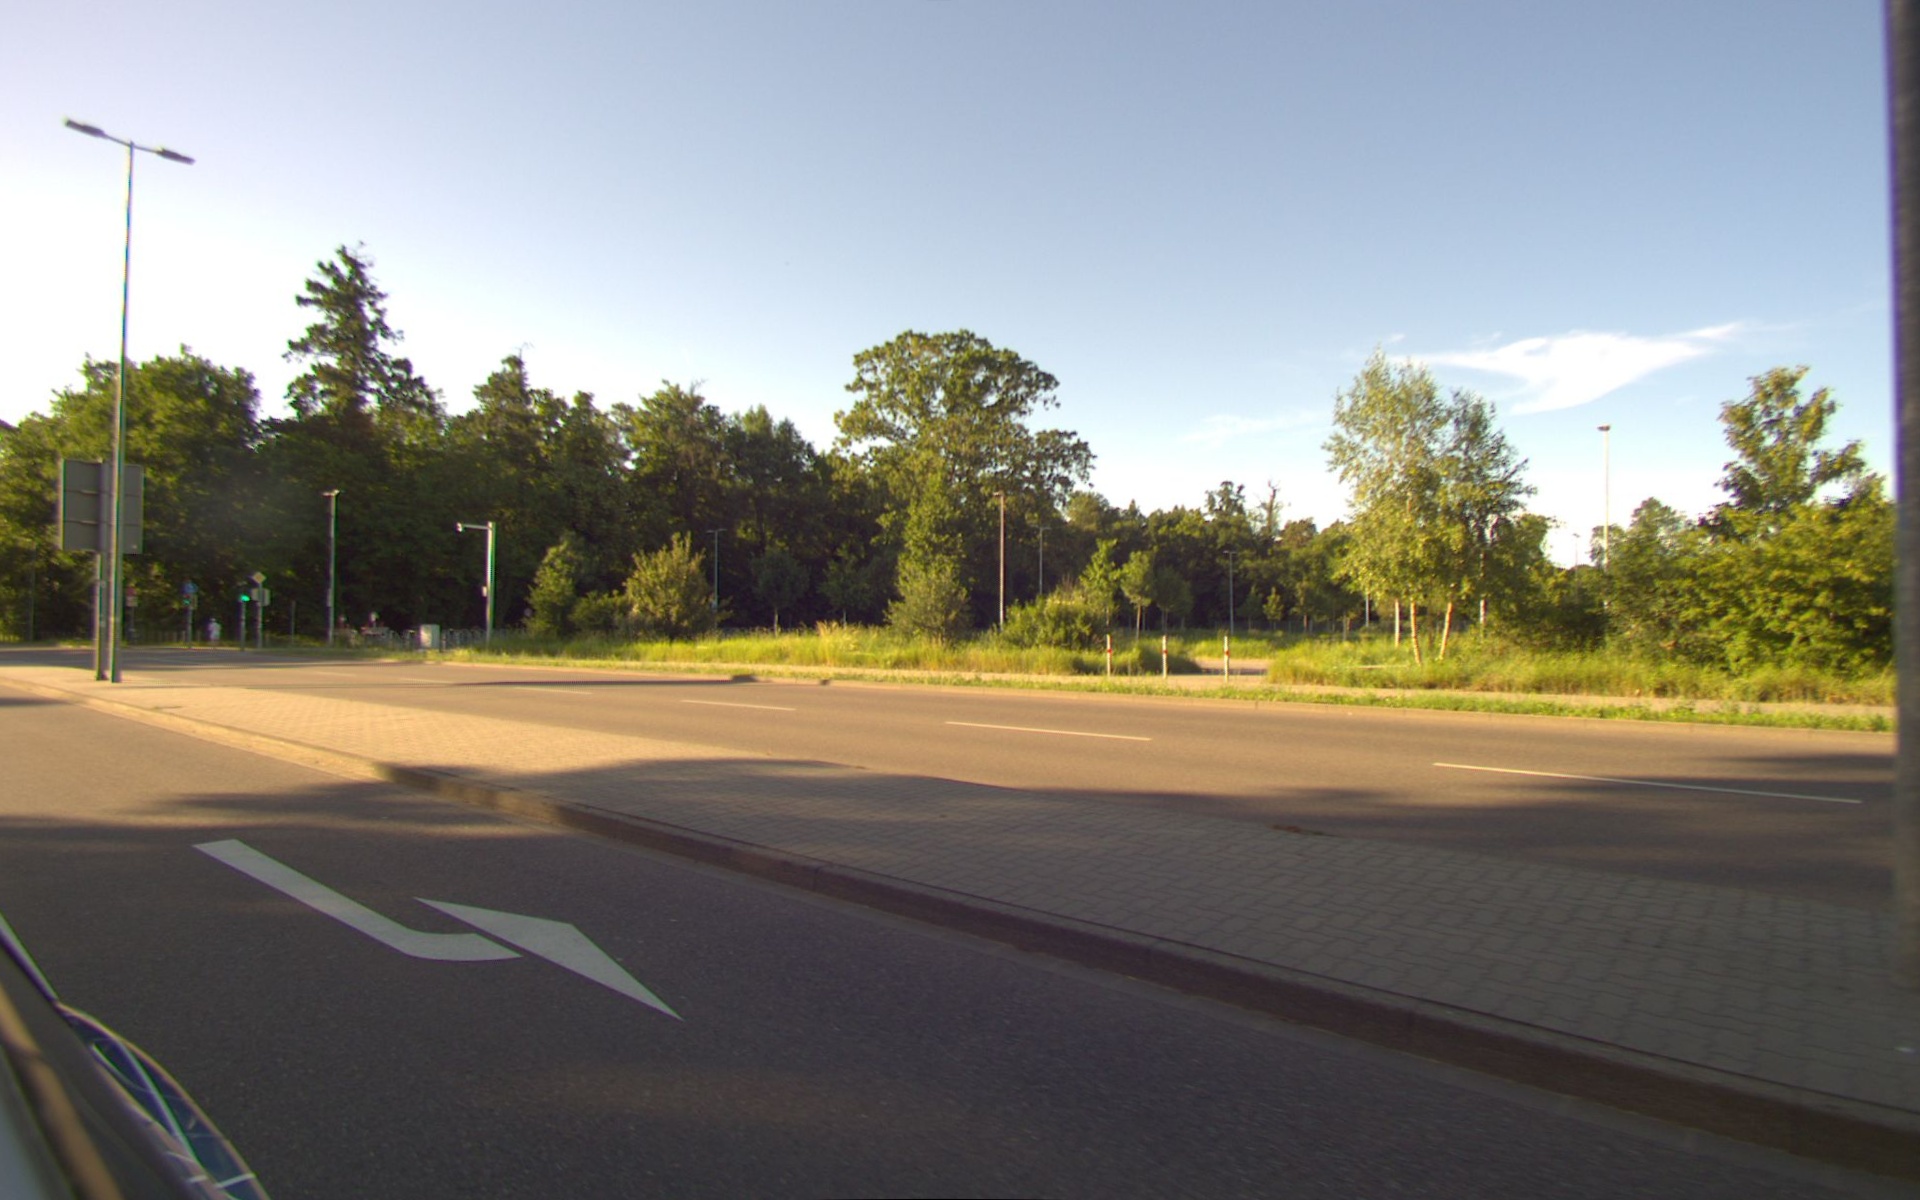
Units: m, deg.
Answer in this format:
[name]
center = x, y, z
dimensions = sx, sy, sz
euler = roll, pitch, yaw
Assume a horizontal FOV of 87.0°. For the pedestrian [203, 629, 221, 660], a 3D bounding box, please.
[pedestrian]
center = -43.790, 2.587, 59.276
dimensions = 0.734, 1.788, 0.682
euler = -2, -3, 43
